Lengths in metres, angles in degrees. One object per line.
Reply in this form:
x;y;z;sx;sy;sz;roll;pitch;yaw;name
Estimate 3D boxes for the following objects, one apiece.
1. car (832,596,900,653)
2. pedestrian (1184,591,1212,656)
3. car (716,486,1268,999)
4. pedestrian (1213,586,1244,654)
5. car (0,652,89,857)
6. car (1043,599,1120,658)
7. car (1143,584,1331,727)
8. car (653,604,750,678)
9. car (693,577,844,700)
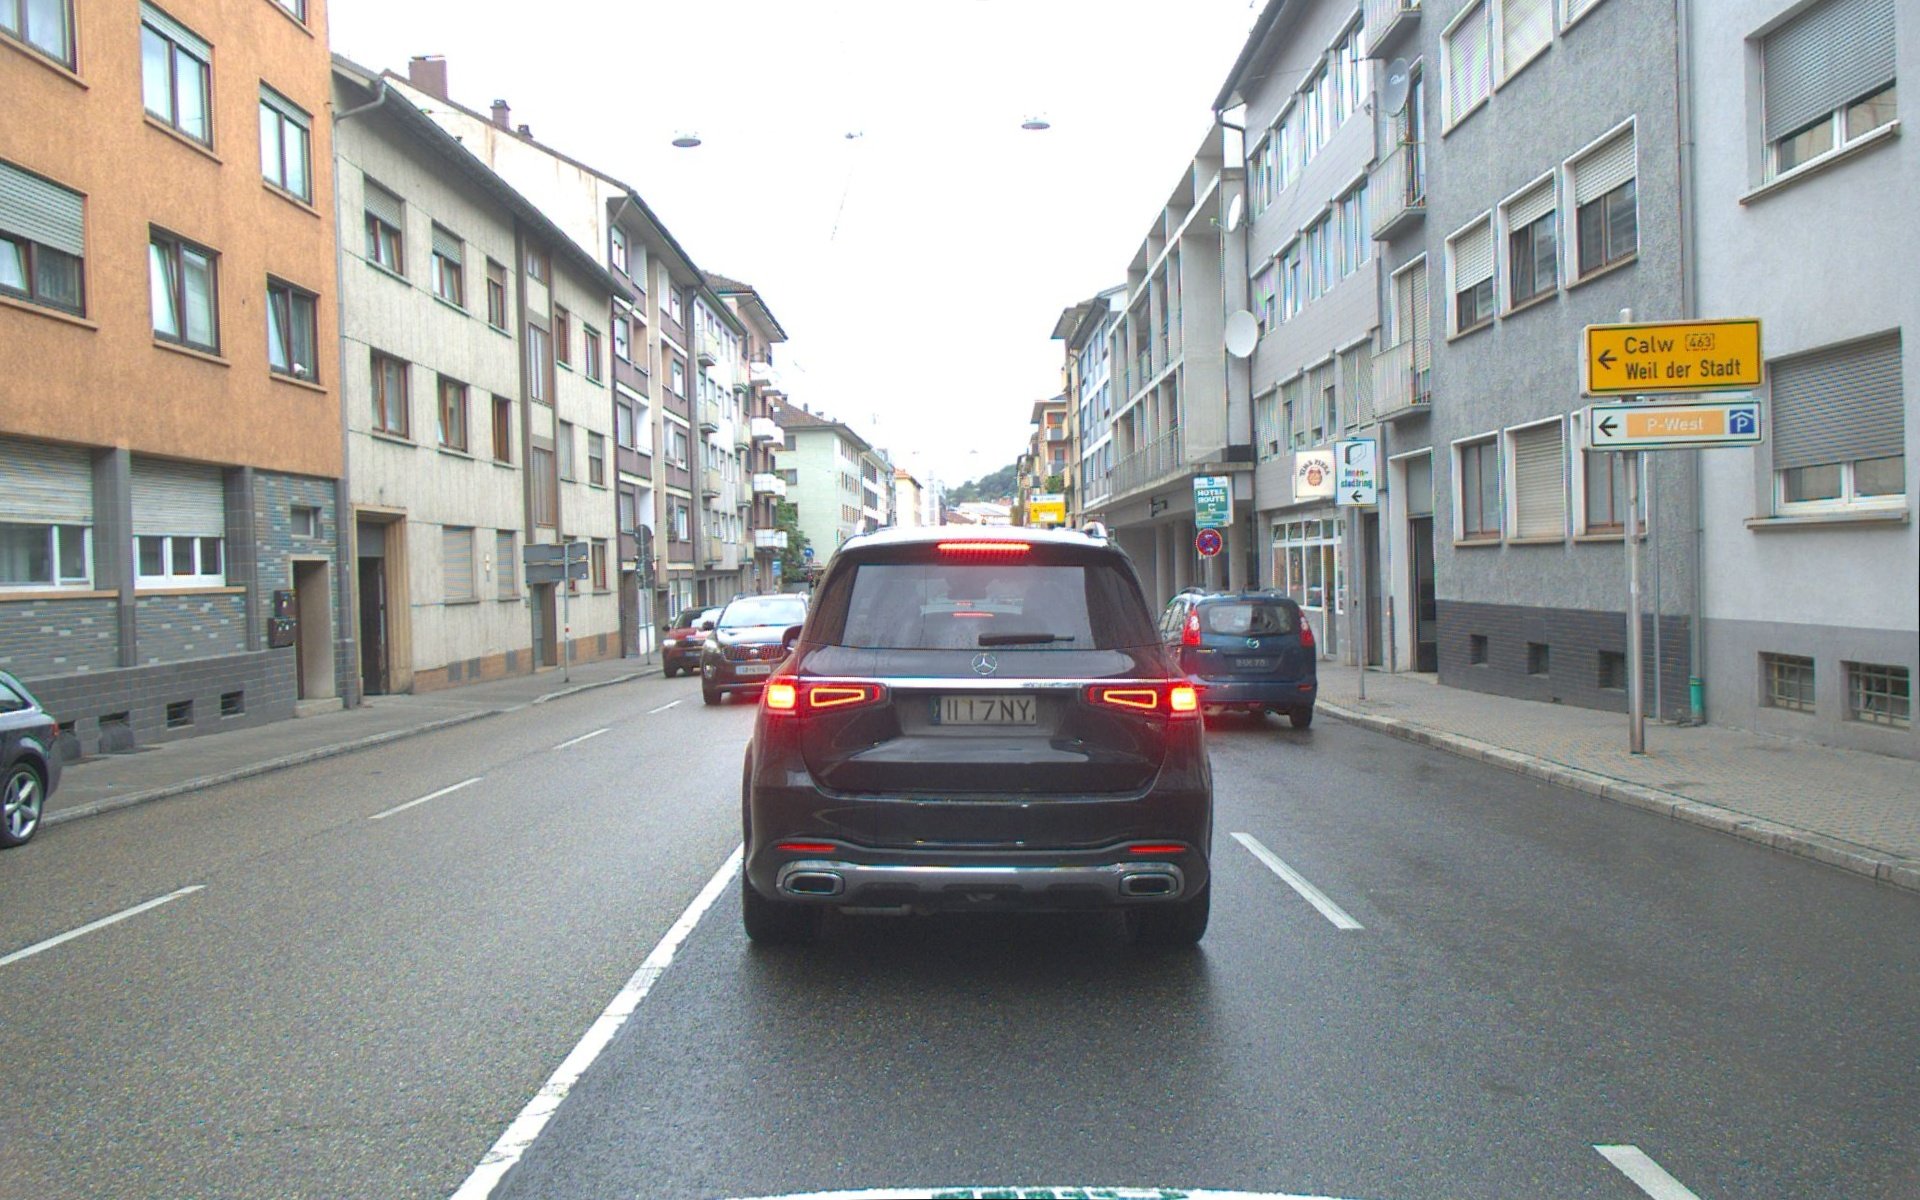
-3.168;0.797;56.889;2.083;1.750;4.816;-3;0;-1;car
5.796;0.565;40.296;0.496;1.526;0.562;-4;0;-2;pedestrian
0.076;0.518;8.033;1.984;1.837;3.999;1;0;-1;car
6.544;0.476;40.308;0.549;1.606;0.526;-4;0;-2;pedestrian
-7.973;1.163;11.249;1.759;1.463;4.525;1;0;-1;car
3.167;0.710;43.831;1.588;1.455;4.311;1;0;-1;car
3.419;0.633;21.113;1.770;1.634;4.212;0;0;1;car
-6.341;0.975;41.022;1.761;1.612;4.314;-3;0;-2;car
-3.077;0.572;27.471;1.798;1.757;4.475;-4;0;1;car
